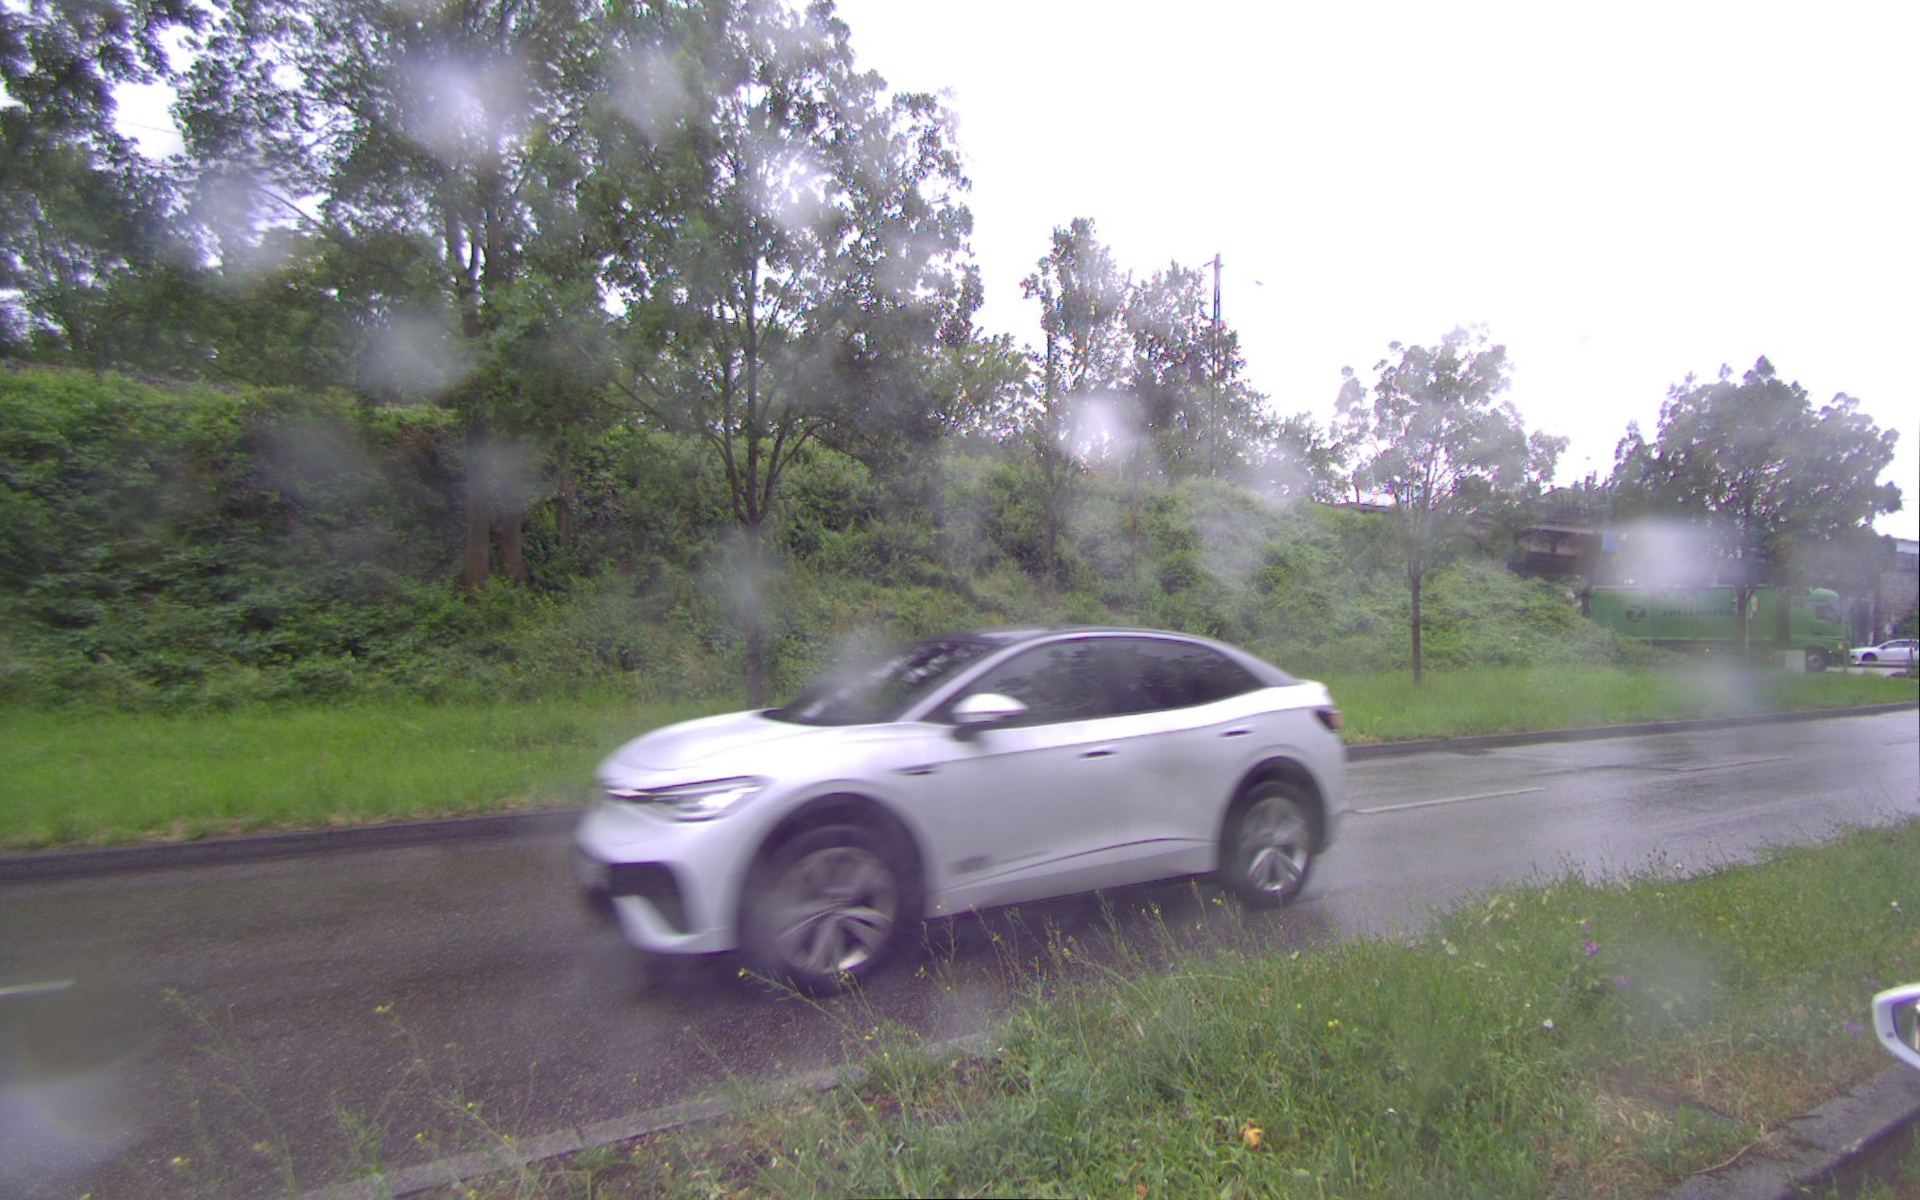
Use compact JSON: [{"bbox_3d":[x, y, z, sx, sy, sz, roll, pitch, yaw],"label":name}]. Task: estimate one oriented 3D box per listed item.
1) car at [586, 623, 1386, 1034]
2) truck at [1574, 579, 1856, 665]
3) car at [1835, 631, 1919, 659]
[{"bbox_3d":[0.267,0.930,5.813,4.286,1.545,1.952,1,-2,-32],"label":"car"},{"bbox_3d":[34.423,0.967,46.379,9.947,3.497,2.657,2,-1,24],"label":"truck"},{"bbox_3d":[53.321,2.580,57.974,3.926,1.606,1.716,0,-2,27],"label":"car"}]
